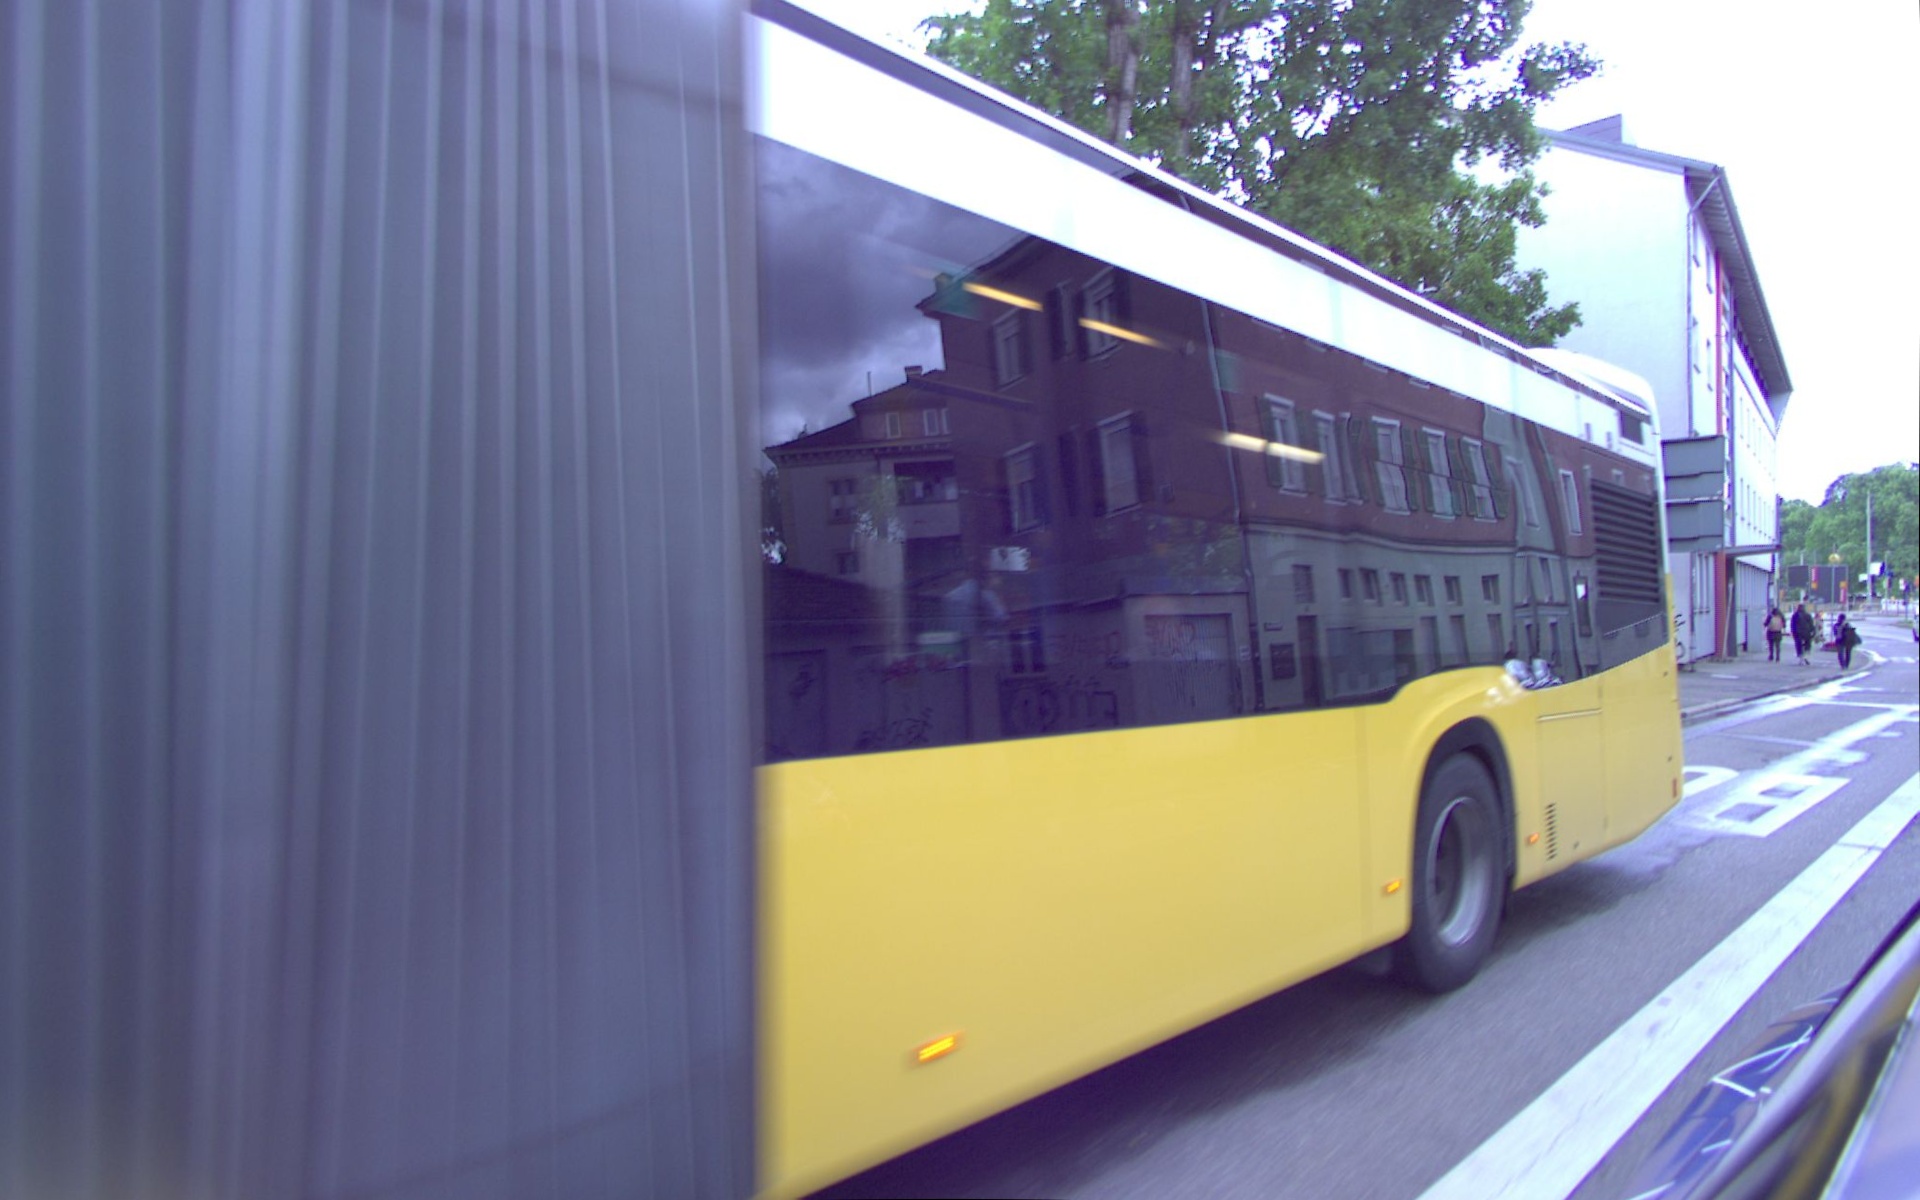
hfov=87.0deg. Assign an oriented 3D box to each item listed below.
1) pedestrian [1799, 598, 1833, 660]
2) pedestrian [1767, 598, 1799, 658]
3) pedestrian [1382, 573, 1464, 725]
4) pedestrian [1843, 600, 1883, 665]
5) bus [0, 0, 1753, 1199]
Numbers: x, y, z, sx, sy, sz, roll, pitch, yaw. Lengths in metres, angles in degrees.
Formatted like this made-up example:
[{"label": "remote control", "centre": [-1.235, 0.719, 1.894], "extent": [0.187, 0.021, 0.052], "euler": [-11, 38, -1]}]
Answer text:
[{"label": "pedestrian", "centre": [25.459, 0.849, 30.102], "extent": [0.687, 1.779, 0.864], "euler": [2, 0, 43]}, {"label": "pedestrian", "centre": [24.917, 0.834, 30.642], "extent": [0.597, 1.779, 0.544], "euler": [2, 0, -34]}, {"label": "pedestrian", "centre": [5.704, 0.590, 12.468], "extent": [0.807, 1.802, 0.582], "euler": [0, -3, -41]}, {"label": "pedestrian", "centre": [26.135, 0.943, 29.290], "extent": [0.803, 1.816, 0.928], "euler": [2, 0, 43]}, {"label": "bus", "centre": [0.628, 0.026, 4.556], "extent": [9.863, 3.177, 2.666], "euler": [1, -3, -41]}]
